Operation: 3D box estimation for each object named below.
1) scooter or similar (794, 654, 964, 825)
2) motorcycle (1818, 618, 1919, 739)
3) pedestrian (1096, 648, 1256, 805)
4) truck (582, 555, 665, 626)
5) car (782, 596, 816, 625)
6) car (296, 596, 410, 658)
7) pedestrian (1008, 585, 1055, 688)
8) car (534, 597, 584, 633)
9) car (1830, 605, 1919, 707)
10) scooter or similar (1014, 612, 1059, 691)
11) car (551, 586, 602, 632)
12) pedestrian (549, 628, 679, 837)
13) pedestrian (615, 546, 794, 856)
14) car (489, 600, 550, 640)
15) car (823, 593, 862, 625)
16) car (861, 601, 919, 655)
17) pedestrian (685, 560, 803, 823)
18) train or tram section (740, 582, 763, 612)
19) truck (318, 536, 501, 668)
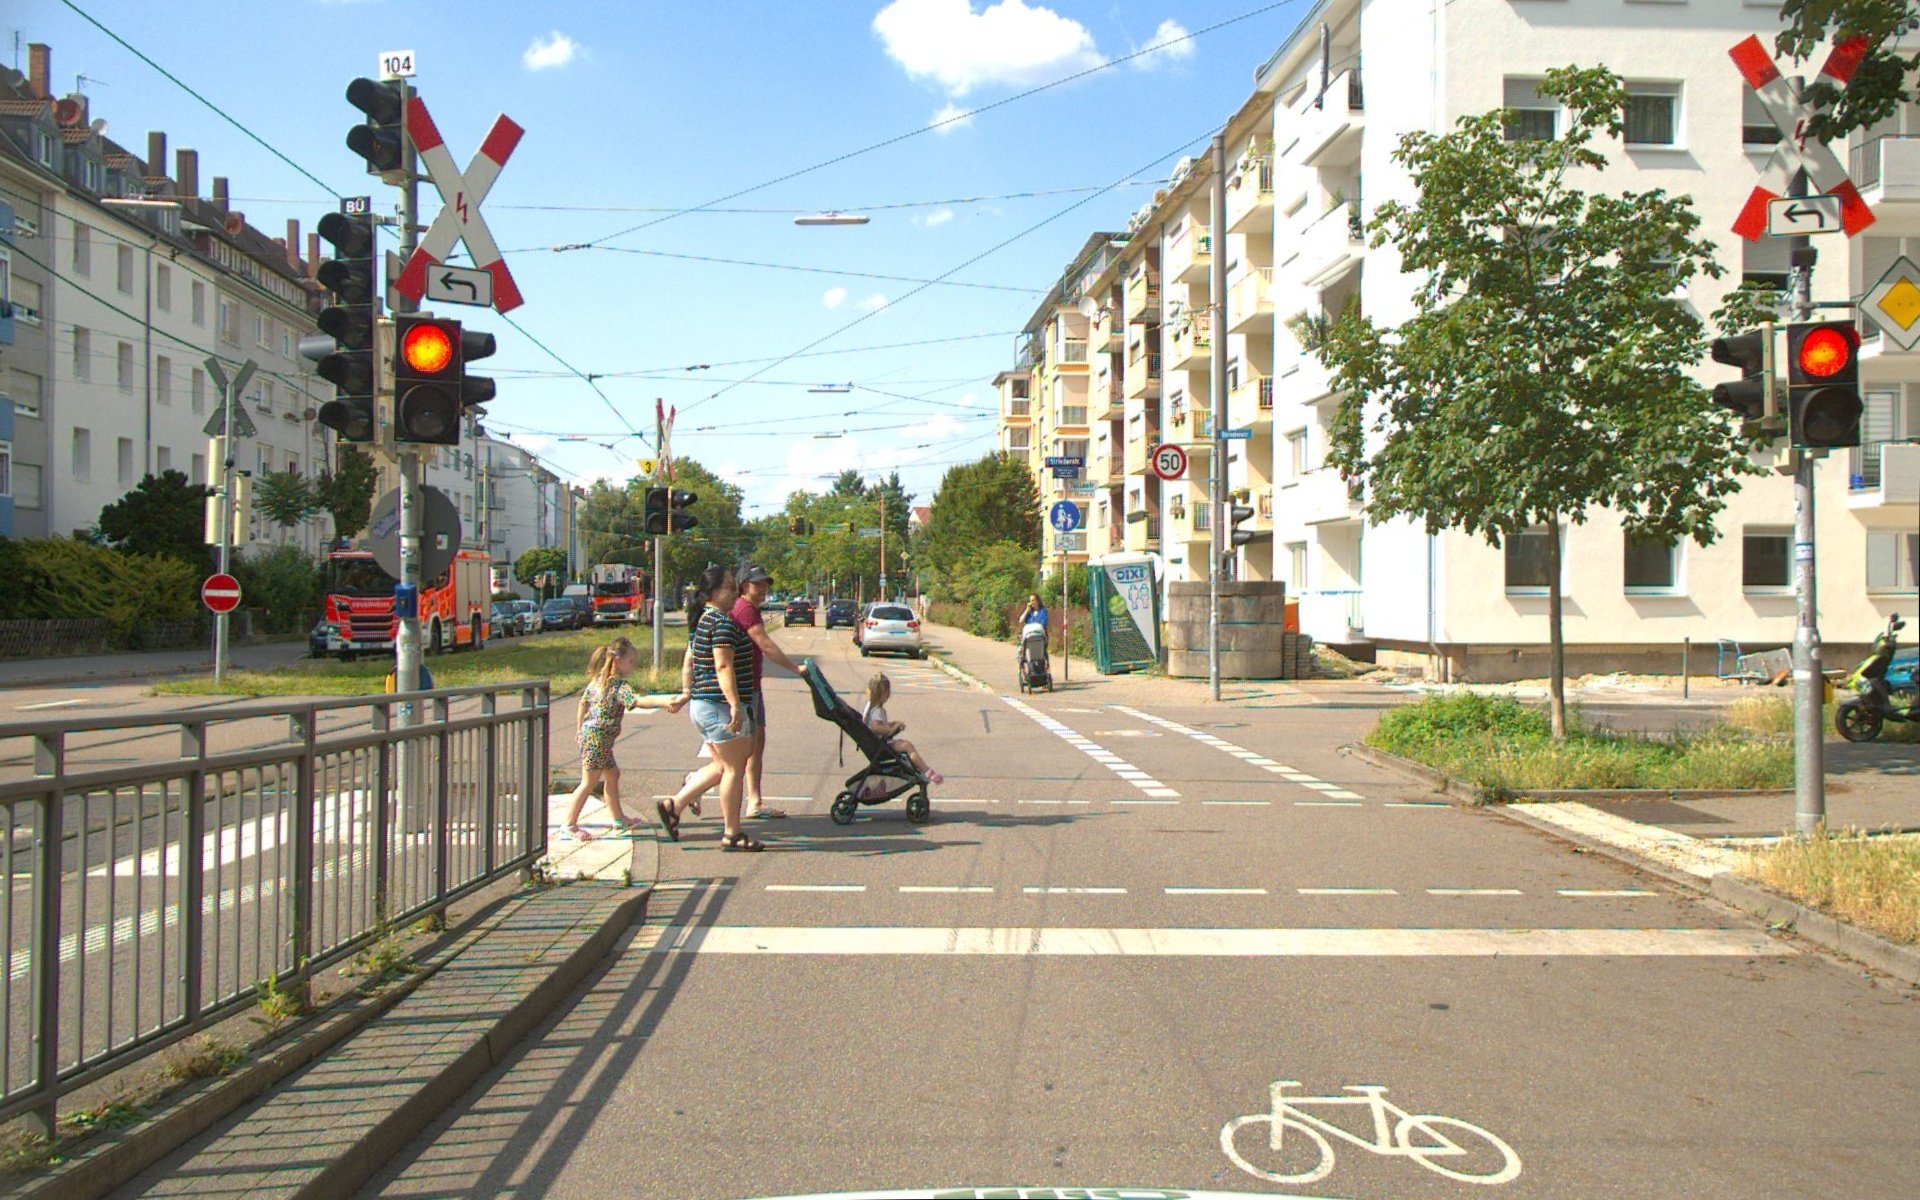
[{"bbox_3d":[-0.545,0.921,11.099,1.078,1.074,0.650,1,-1,-4],"label":"scooter or similar"},{"bbox_3d":[10.219,0.826,17.610,0.565,1.236,1.826,-5,1,-32],"label":"motorcycle"},{"bbox_3d":[3.169,1.819,25.021,1.952,2.049,4.001,1,-1,1],"label":"pedestrian"},{"bbox_3d":[-17.997,-0.449,89.136,2.613,3.531,10.163,1,0,-2],"label":"truck"},{"bbox_3d":[-9.041,0.591,93.011,1.709,1.533,3.997,2,0,-4],"label":"car"},{"bbox_3d":[-17.604,0.774,48.175,1.954,1.674,3.998,2,0,-3],"label":"car"},{"bbox_3d":[1.302,0.660,30.263,0.687,1.820,1.029,-3,0,-2],"label":"pedestrian"},{"bbox_3d":[-20.563,0.761,84.882,1.873,1.741,3.996,2,0,-5],"label":"car"},{"bbox_3d":[15.271,0.849,24.255,4.080,1.438,1.780,2,-1,1],"label":"car"},{"bbox_3d":[1.353,0.901,29.386,0.649,1.326,0.868,-3,0,-4],"label":"scooter or similar"},{"bbox_3d":[-21.085,0.474,91.069,1.929,2.412,5.197,2,0,-4],"label":"car"},{"bbox_3d":[-2.081,0.776,10.019,0.624,1.201,0.798,0,-1,-2],"label":"pedestrian"},{"bbox_3d":[-1.489,0.553,9.586,0.835,1.697,0.792,0,-1,-26],"label":"pedestrian"},{"bbox_3d":[-19.946,0.897,75.011,1.954,1.741,3.996,2,0,-5],"label":"car"},{"bbox_3d":[-5.946,0.481,84.215,1.708,1.533,3.999,1,0,-1],"label":"car"},{"bbox_3d":[-2.054,0.798,48.221,1.590,1.490,3.508,2,0,-3],"label":"car"},{"bbox_3d":[-1.425,0.597,11.018,0.692,1.677,0.636,2,-1,-5],"label":"pedestrian"},{"bbox_3d":[-22.036,-0.302,175.285,2.215,3.122,8.122,0,0,-6],"label":"train or tram section"},{"bbox_3d":[-14.931,0.078,45.564,2.544,3.241,8.377,1,0,-3],"label":"truck"}]
